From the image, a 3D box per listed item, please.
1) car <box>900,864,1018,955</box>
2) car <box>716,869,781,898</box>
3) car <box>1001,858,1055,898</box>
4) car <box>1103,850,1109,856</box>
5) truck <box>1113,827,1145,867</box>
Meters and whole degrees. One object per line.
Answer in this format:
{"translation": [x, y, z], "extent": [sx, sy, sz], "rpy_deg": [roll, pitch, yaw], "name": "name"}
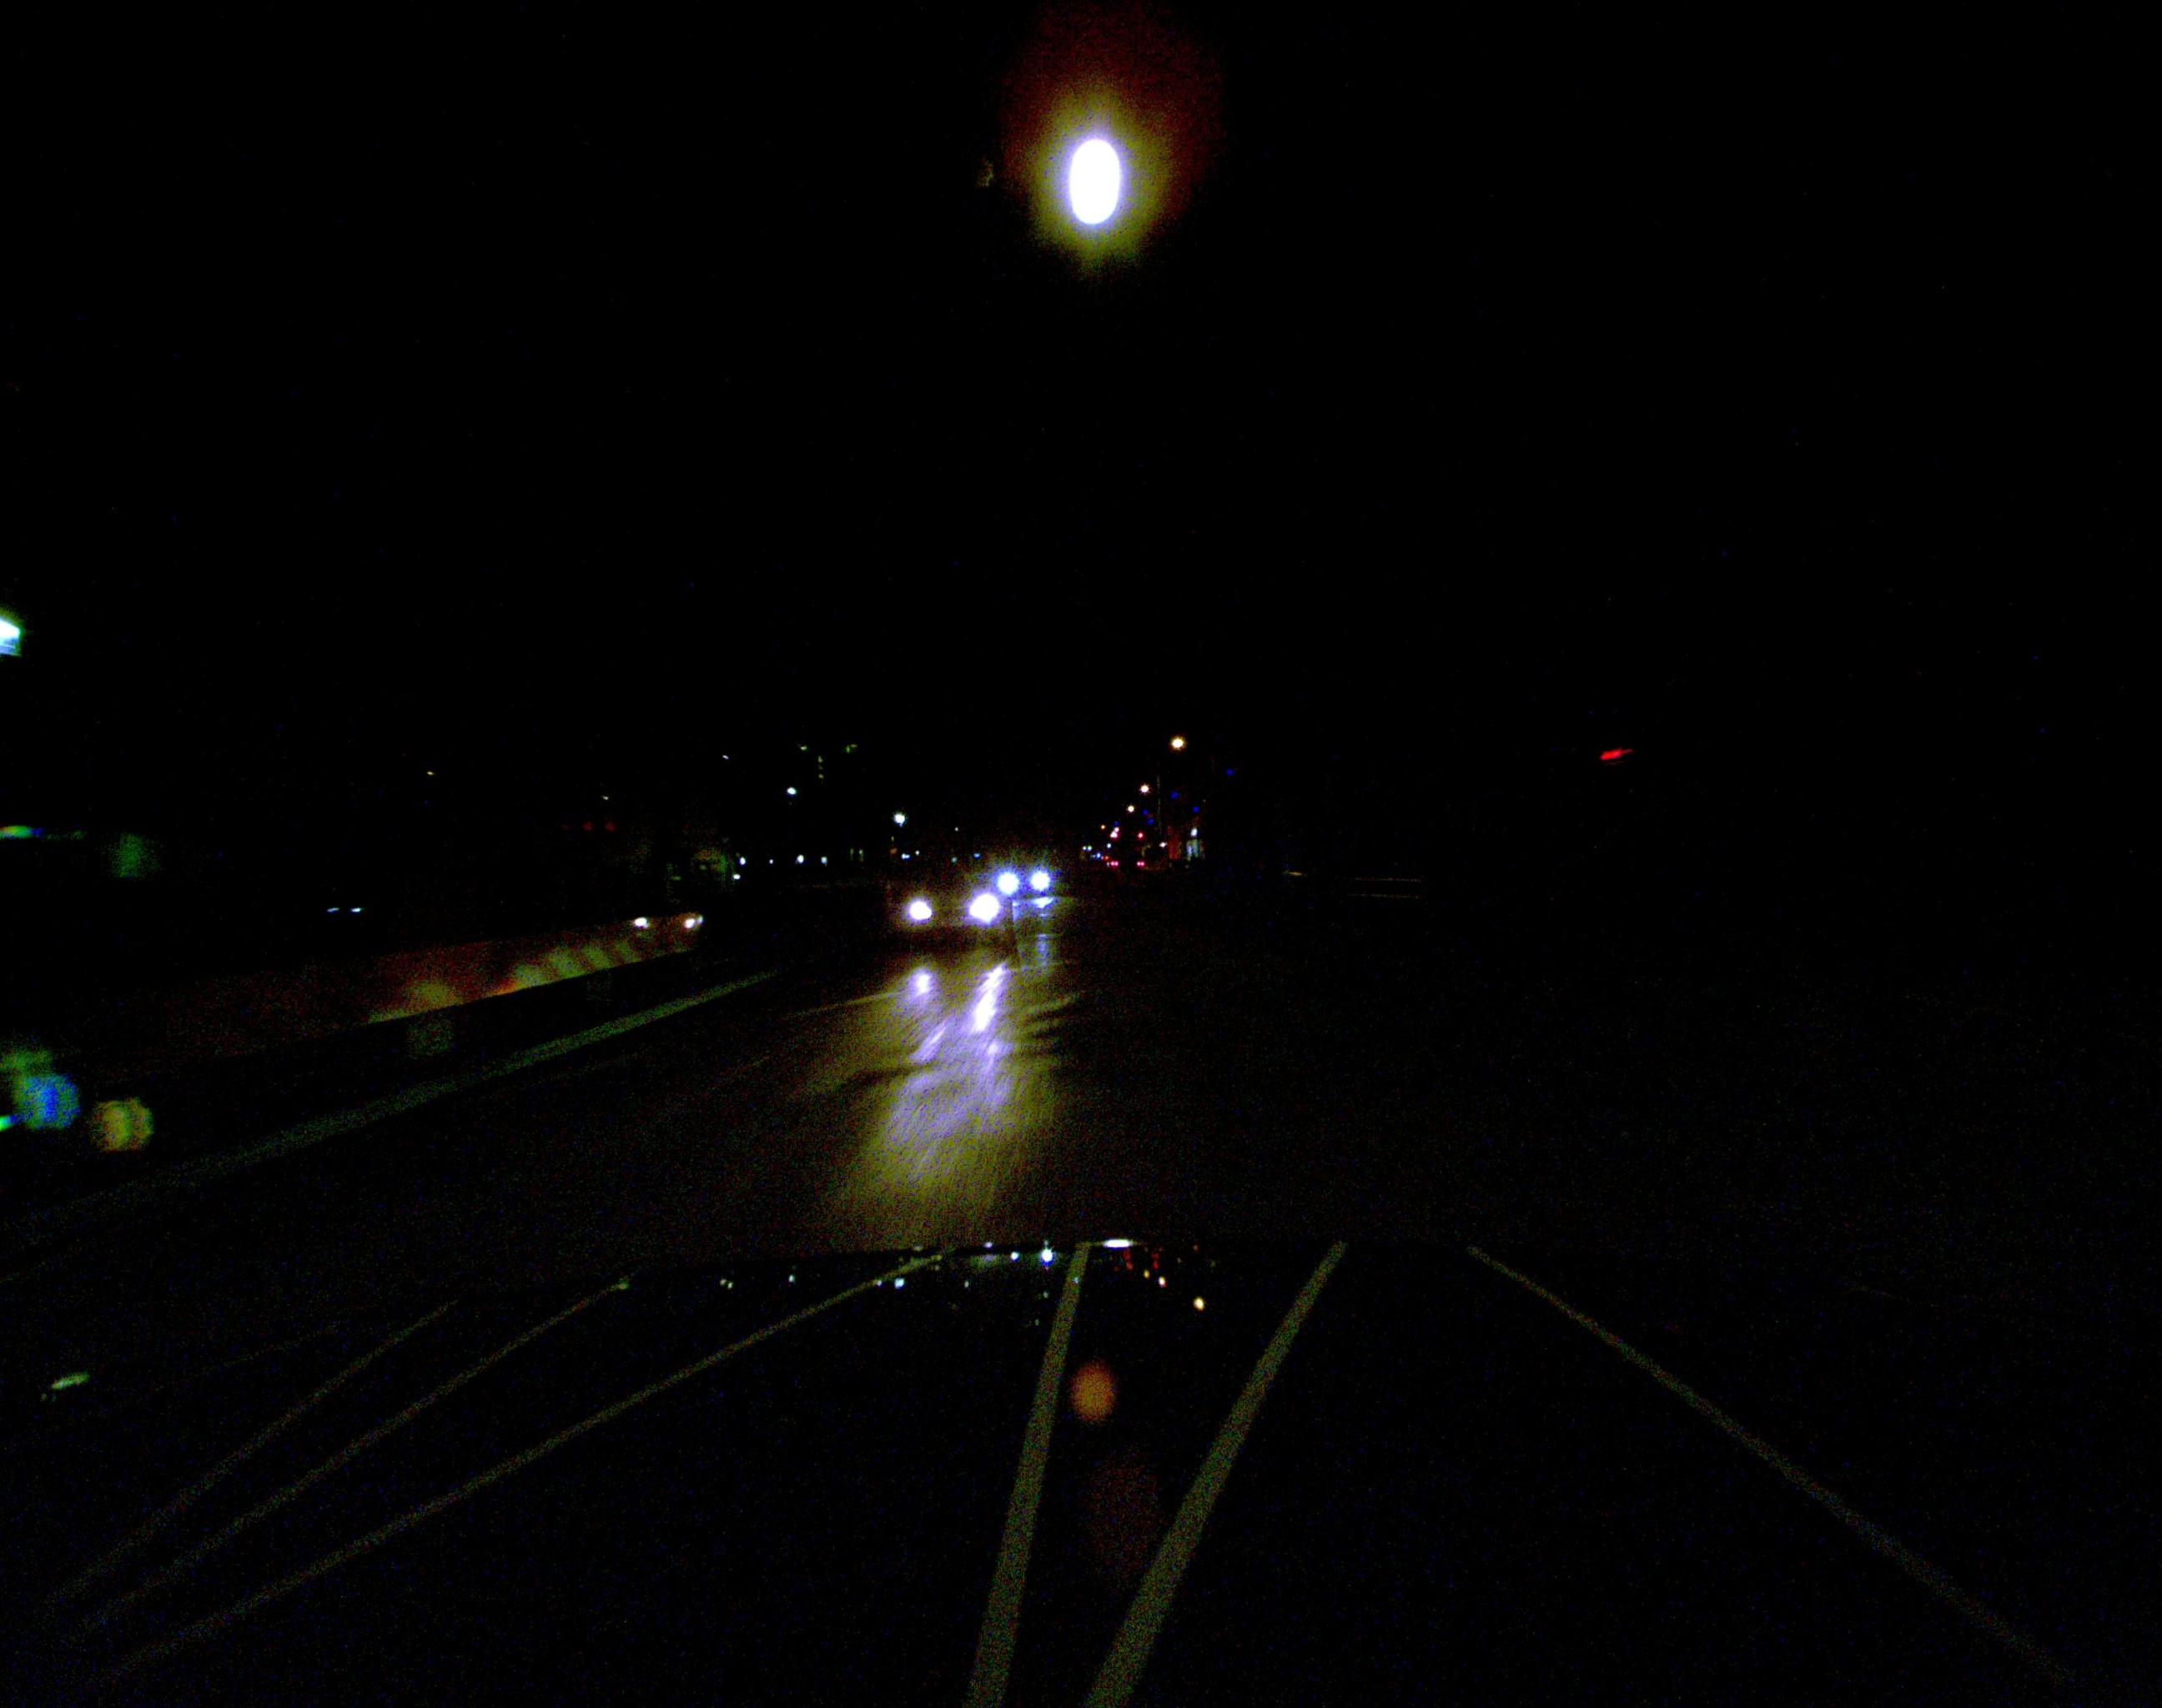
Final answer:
{"translation": [-2.399, 1.039, 15.864], "extent": [1.641, 1.486, 4.000], "rpy_deg": [-4, 0, 1], "name": "car"}
{"translation": [-17.846, 1.540, 40.999], "extent": [1.516, 1.387, 4.481], "rpy_deg": [-1, 0, 0], "name": "car"}
{"translation": [-2.276, 1.009, 33.907], "extent": [1.809, 1.485, 4.730], "rpy_deg": [-4, 0, 2], "name": "car"}
{"translation": [7.274, -0.297, 218.423], "extent": [1.671, 1.420, 4.000], "rpy_deg": [0, 1, 1], "name": "car"}
{"translation": [4.662, -0.650, 75.497], "extent": [2.762, 3.696, 10.112], "rpy_deg": [0, 0, 1], "name": "truck"}
